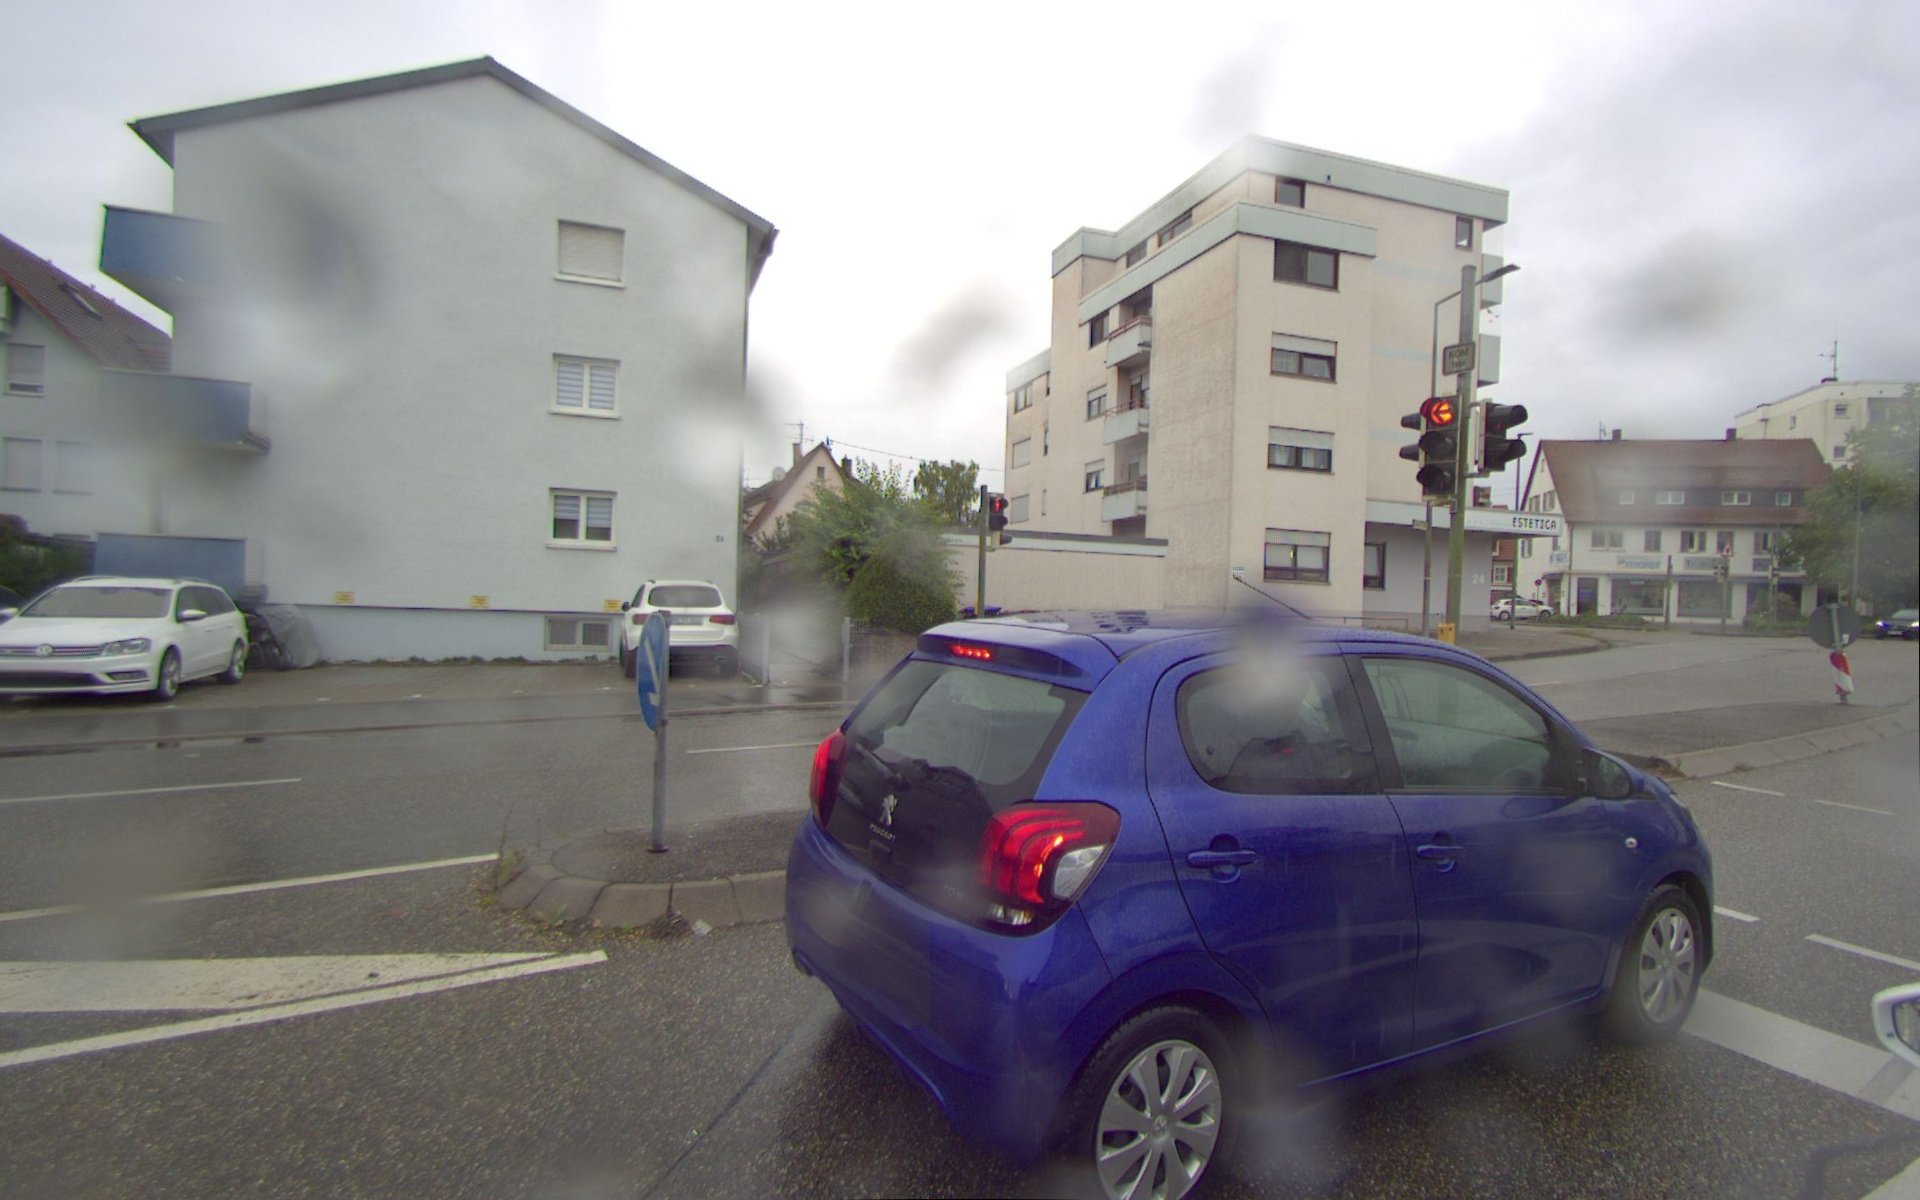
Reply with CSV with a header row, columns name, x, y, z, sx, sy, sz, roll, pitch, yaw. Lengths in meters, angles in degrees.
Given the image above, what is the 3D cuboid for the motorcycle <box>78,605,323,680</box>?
name,x,y,z,sx,sy,sz,roll,pitch,yaw
motorcycle,-12.370,0.647,16.495,0.864,1.115,3.113,2,1,43

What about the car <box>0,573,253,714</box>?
name,x,y,z,sx,sy,sz,roll,pitch,yaw
car,-10.610,0.458,12.727,1.878,1.493,4.208,1,0,-24

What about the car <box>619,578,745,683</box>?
name,x,y,z,sx,sy,sz,roll,pitch,yaw
car,-5.159,0.486,18.265,1.909,1.658,4.445,1,0,-19

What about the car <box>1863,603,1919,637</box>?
name,x,y,z,sx,sy,sz,roll,pitch,yaw
car,42.987,0.888,45.714,3.786,1.439,1.770,1,1,-30

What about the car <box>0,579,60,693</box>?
name,x,y,z,sx,sy,sz,roll,pitch,yaw
car,-12.823,0.445,12.033,1.878,1.430,3.977,1,0,-24

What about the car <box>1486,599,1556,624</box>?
name,x,y,z,sx,sy,sz,roll,pitch,yaw
car,38.698,0.752,69.393,3.887,1.593,1.873,1,1,17

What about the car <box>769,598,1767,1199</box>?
name,x,y,z,sx,sy,sz,roll,pitch,yaw
car,1.141,0.743,3.535,3.231,1.429,1.571,1,1,-30
